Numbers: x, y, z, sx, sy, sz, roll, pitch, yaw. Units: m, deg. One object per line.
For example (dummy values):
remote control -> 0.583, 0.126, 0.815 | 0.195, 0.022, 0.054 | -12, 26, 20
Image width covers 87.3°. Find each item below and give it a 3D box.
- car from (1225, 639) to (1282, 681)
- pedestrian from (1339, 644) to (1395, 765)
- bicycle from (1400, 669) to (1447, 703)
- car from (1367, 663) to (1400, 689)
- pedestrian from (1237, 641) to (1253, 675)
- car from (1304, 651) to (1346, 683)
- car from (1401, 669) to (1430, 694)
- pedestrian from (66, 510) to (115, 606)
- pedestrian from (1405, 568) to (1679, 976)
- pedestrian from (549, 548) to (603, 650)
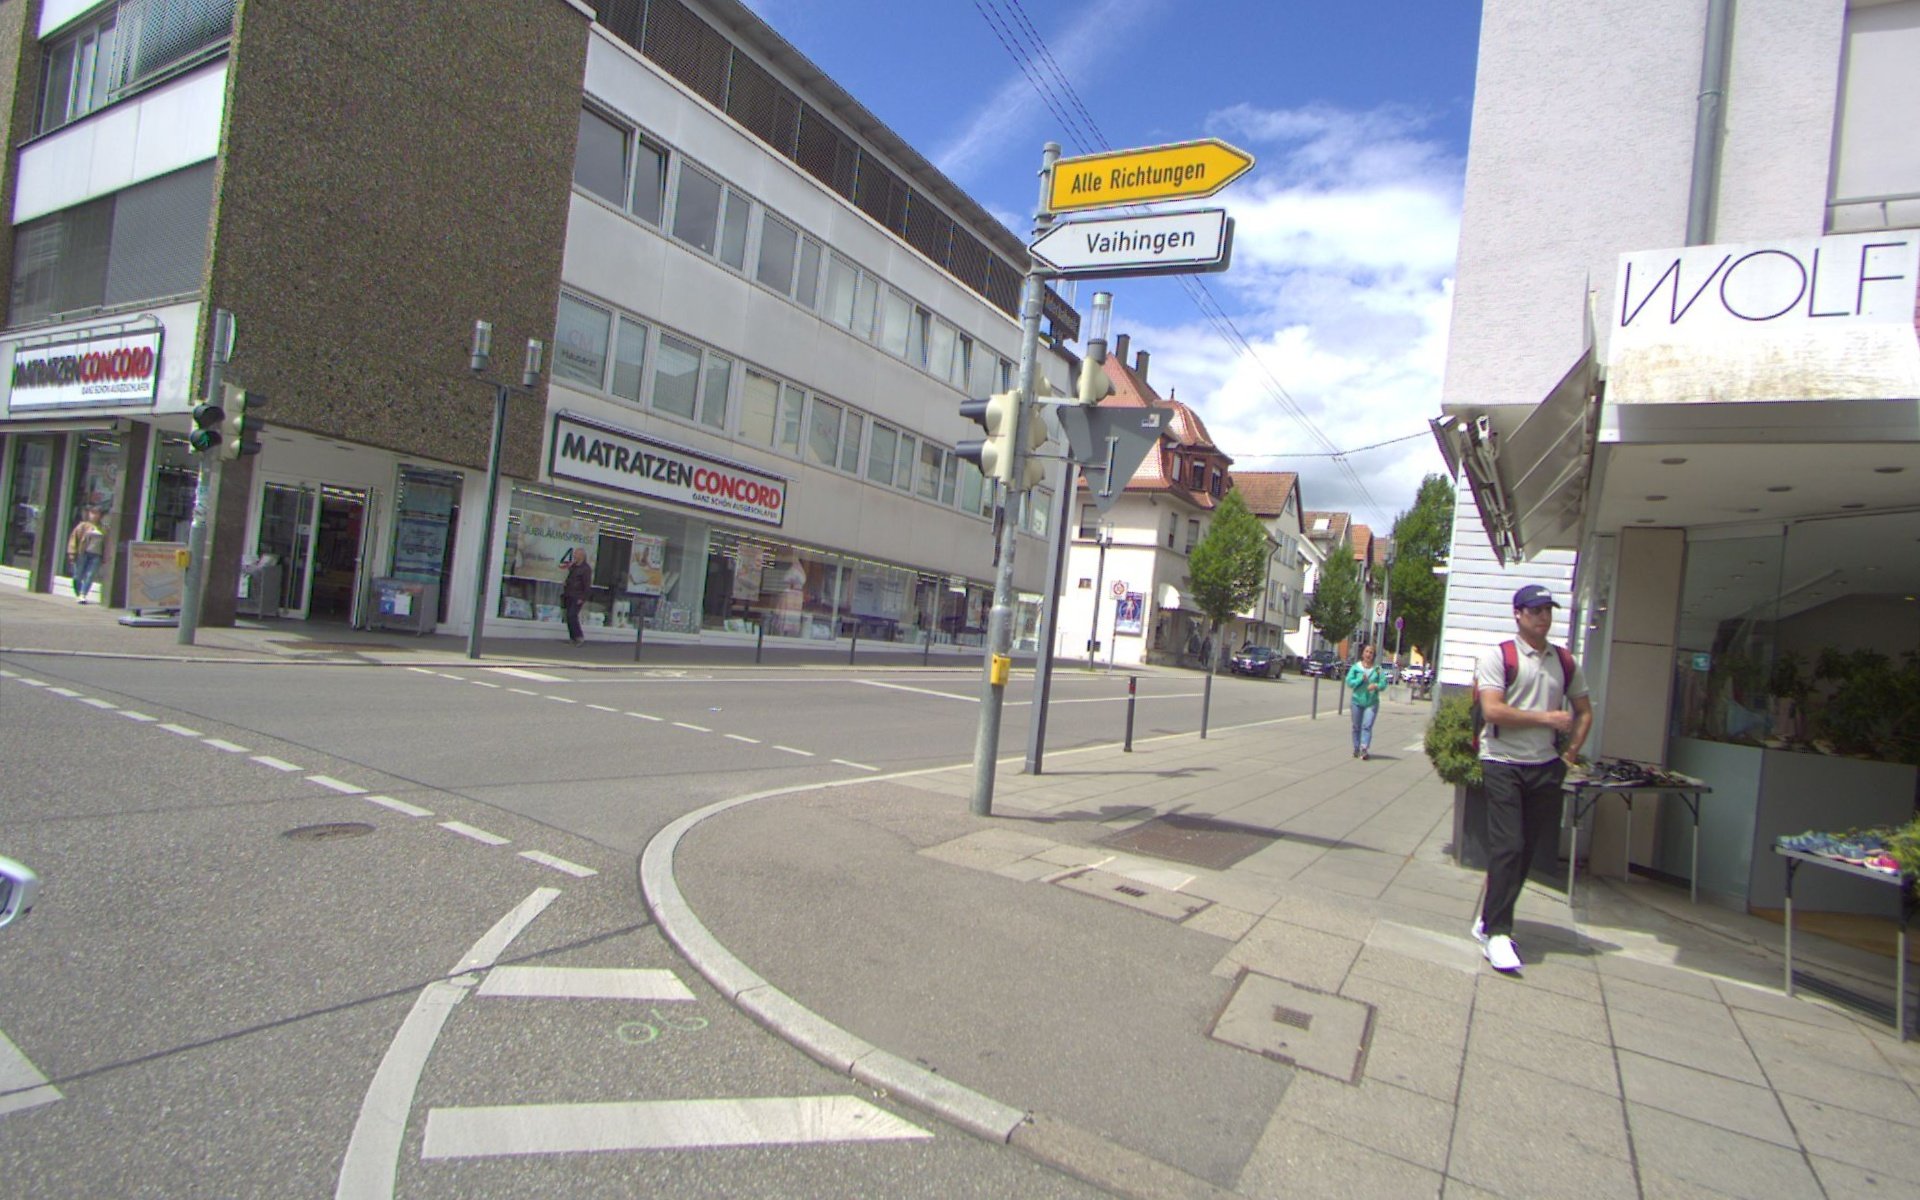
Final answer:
car -> 14.151, 2.912, 48.374 | 1.794, 1.669, 3.999 | 5, -3, 28
pedestrian -> 5.605, 1.429, 13.885 | 0.519, 1.577, 0.590 | 5, -2, 15
bicycle -> 19.630, 3.636, 42.600 | 1.689, 1.234, 0.561 | 4, -2, 30
car -> 28.152, 5.045, 66.793 | 1.676, 1.414, 3.999 | 5, -3, 27
pedestrian -> 14.909, 3.025, 52.541 | 0.569, 1.728, 0.619 | 6, 2, 22
car -> 22.430, 4.132, 61.682 | 1.794, 1.669, 3.999 | 5, -3, 28
car -> 36.172, 6.471, 79.894 | 1.794, 1.669, 3.999 | 5, -3, 28
pedestrian -> -13.902, -0.668, 16.086 | 0.493, 1.478, 0.502 | 6, 2, 45
pedestrian -> 2.822, 0.799, 4.964 | 0.762, 1.840, 0.612 | 6, 3, 0
pedestrian -> -6.823, -0.021, 17.885 | 0.608, 1.728, 0.579 | 6, 2, 0
